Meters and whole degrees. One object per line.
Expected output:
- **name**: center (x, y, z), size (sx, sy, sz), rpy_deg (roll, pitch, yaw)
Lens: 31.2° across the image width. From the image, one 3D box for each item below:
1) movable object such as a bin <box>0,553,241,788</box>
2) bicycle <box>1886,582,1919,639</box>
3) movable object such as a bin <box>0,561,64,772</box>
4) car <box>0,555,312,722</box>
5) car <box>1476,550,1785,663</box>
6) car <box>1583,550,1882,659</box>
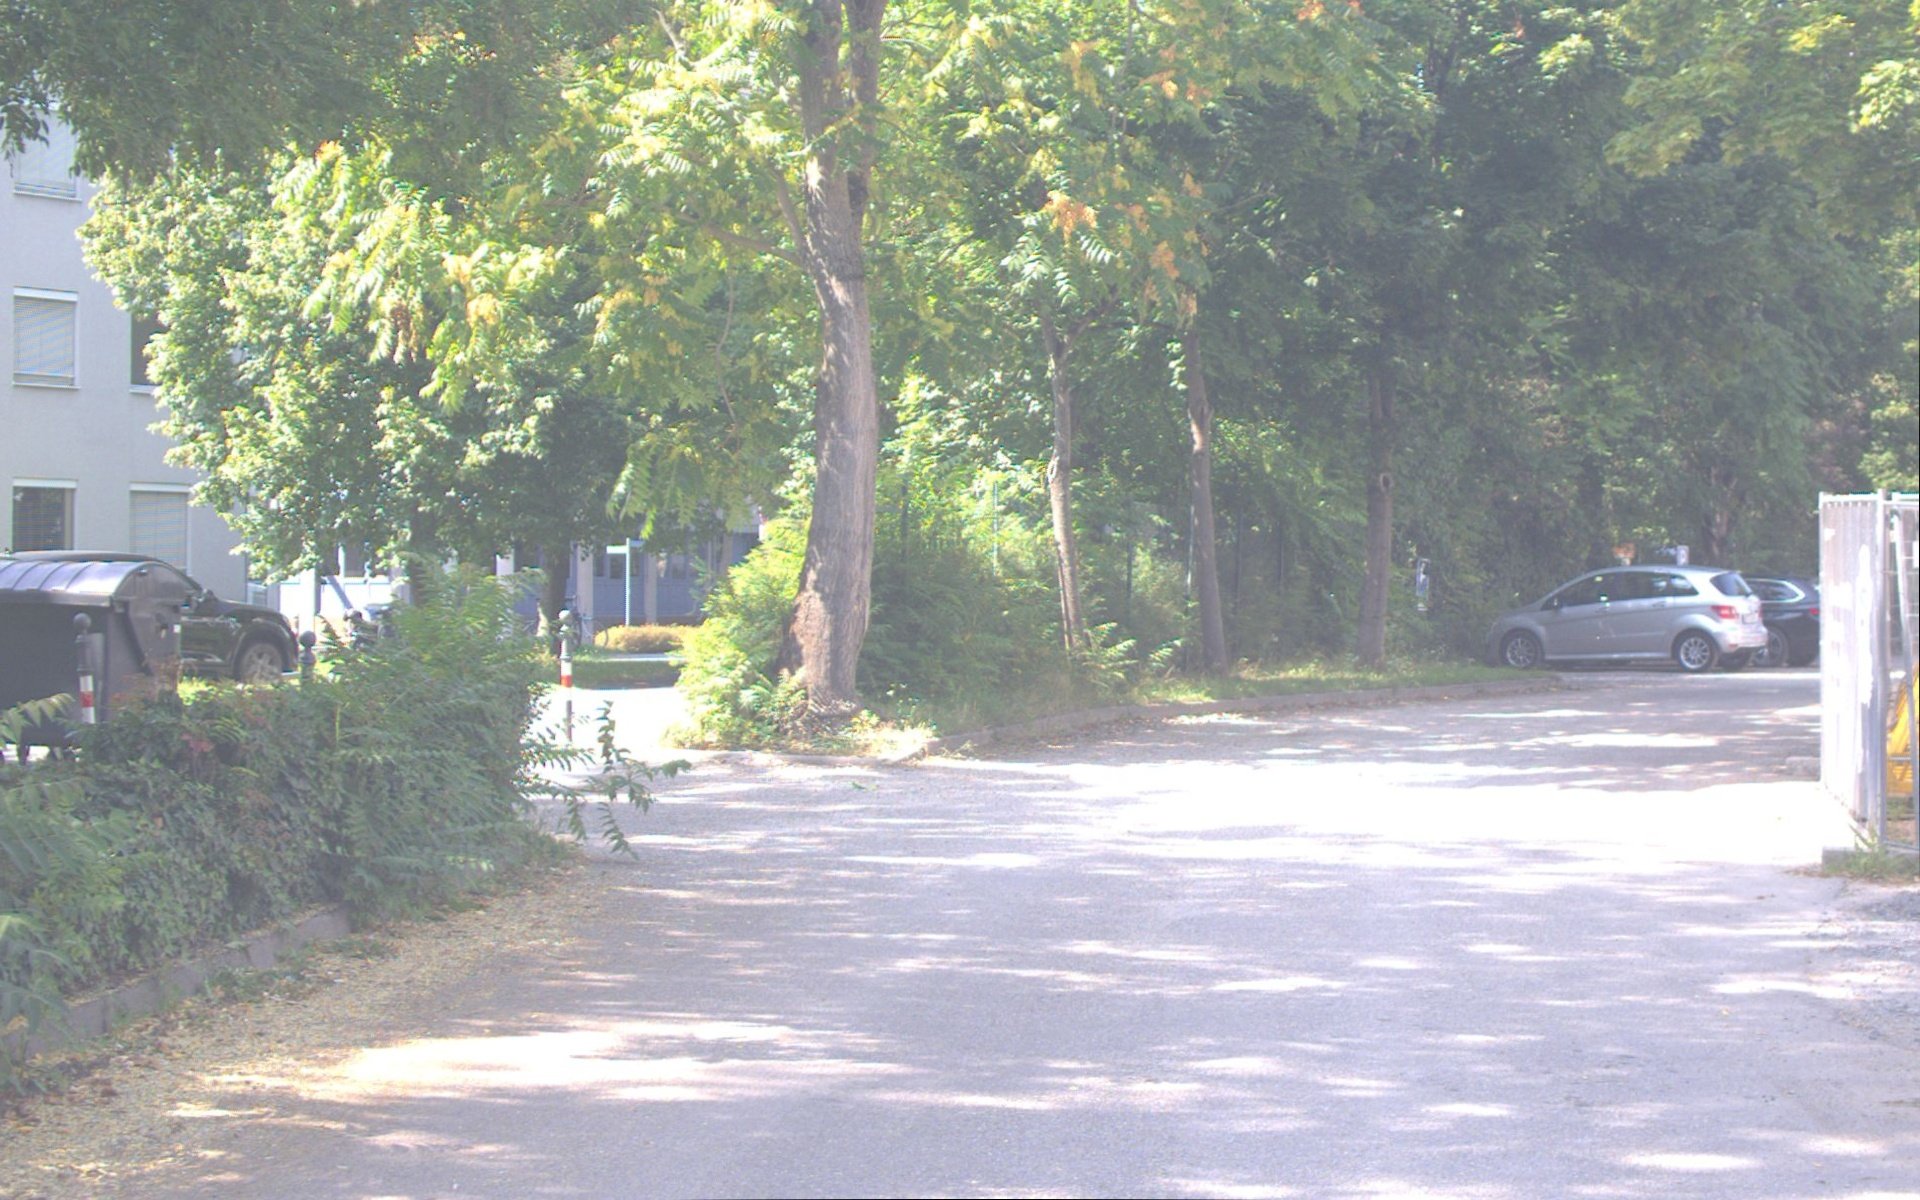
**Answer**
- **movable object such as a bin**: center (-5.732, 0.446, 22.872), size (1.370, 1.488, 1.335), rpy_deg (1, 1, 16)
- **bicycle**: center (18.993, 0.207, 68.352), size (0.499, 1.104, 1.796), rpy_deg (1, 1, 35)
- **movable object such as a bin**: center (-7.113, 0.442, 23.667), size (1.329, 1.427, 1.248), rpy_deg (1, 1, 24)
- **car**: center (-8.316, 0.332, 33.237), size (1.705, 1.522, 3.904), rpy_deg (1, 1, 37)
- **car**: center (10.176, 0.070, 52.263), size (4.155, 1.607, 1.996), rpy_deg (1, 1, 32)
- **car**: center (12.155, 0.046, 54.172), size (4.155, 1.607, 1.996), rpy_deg (1, 1, 32)
